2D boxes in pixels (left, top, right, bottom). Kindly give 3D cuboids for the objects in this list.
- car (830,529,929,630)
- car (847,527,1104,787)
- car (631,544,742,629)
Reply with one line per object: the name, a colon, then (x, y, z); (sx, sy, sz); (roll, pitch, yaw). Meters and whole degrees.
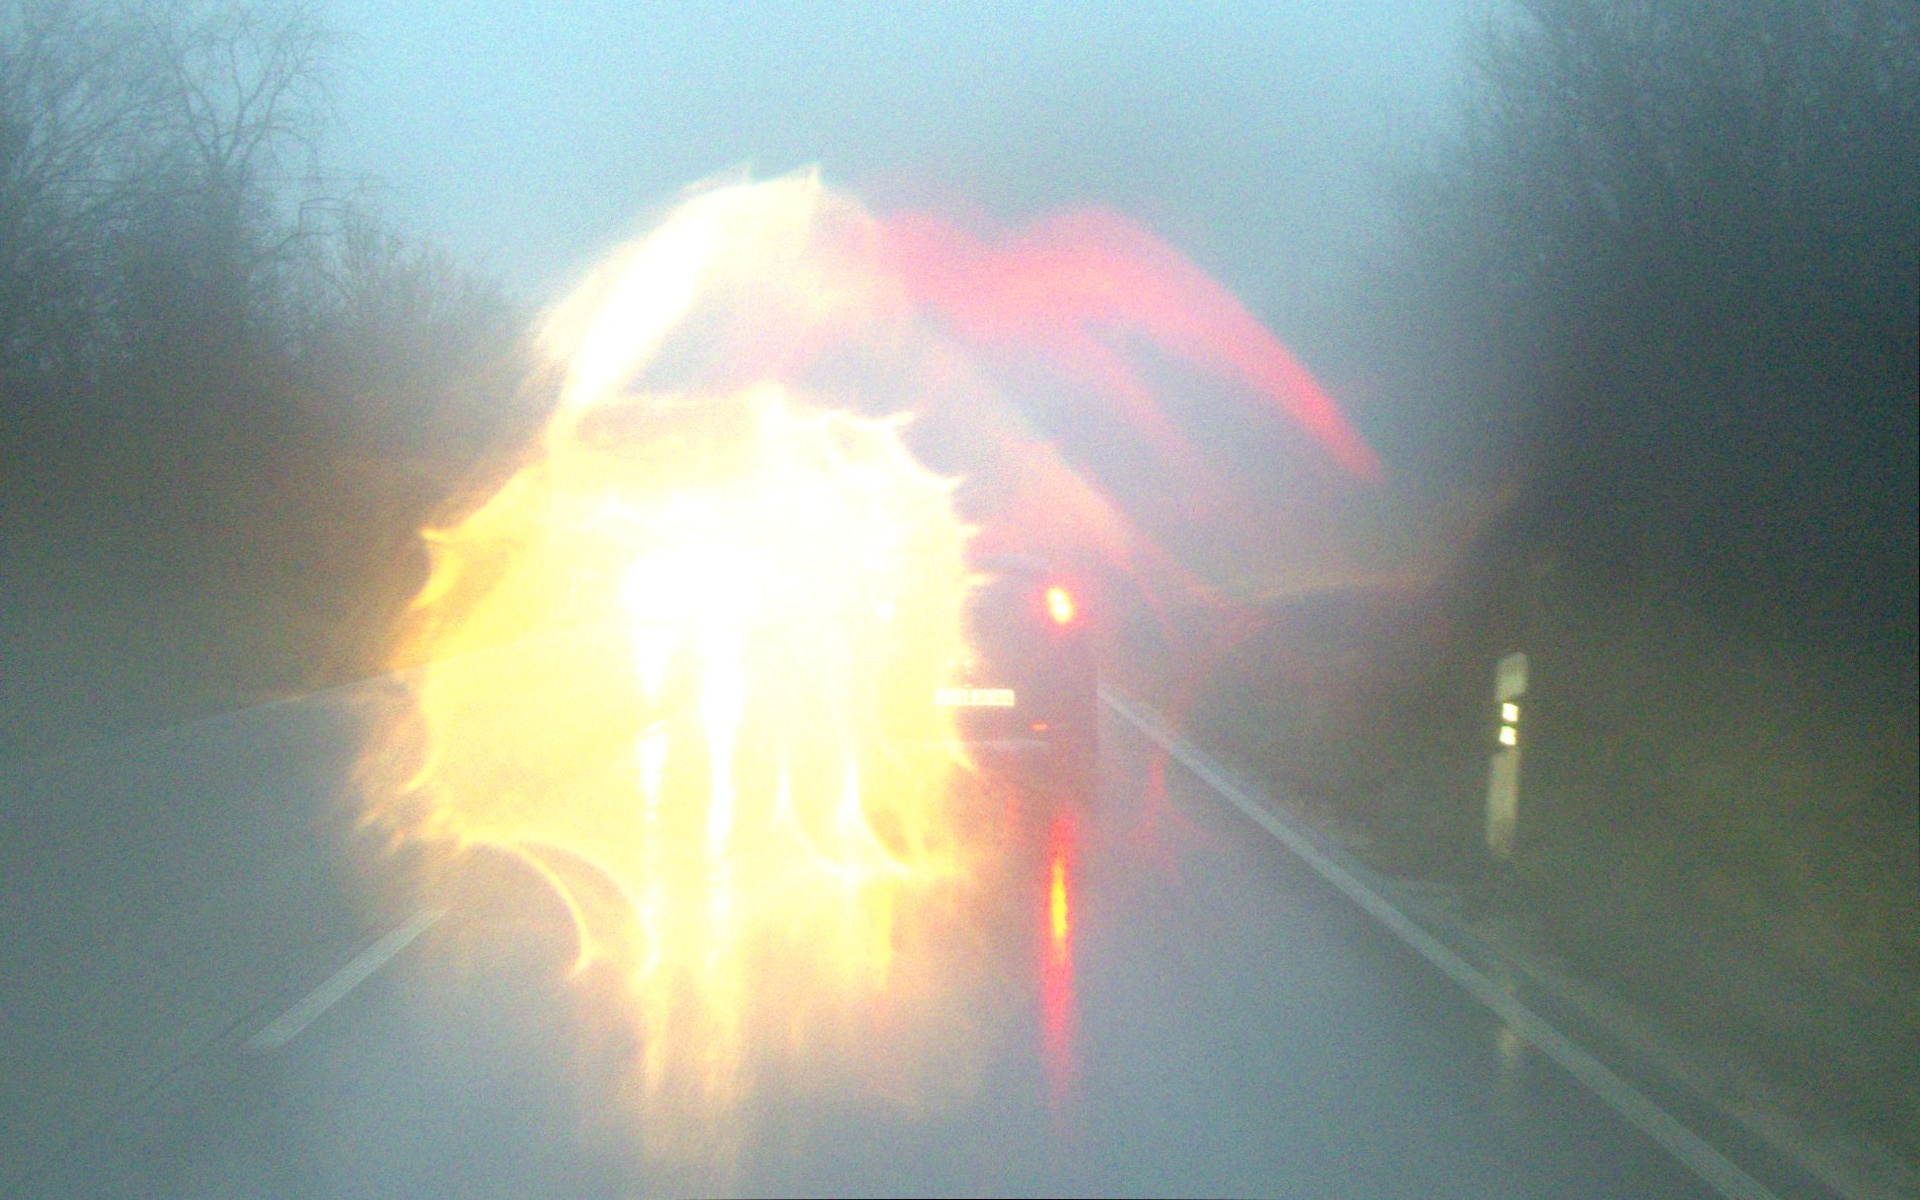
car: (-1.467, -0.396, 63.018); (1.733, 1.773, 4.000); (1, 1, -1)
car: (0.078, 0.348, 24.093); (1.648, 1.666, 3.514); (1, 1, -1)
car: (-5.120, -0.296, 64.949); (1.698, 1.490, 5.665); (0, 1, -1)
